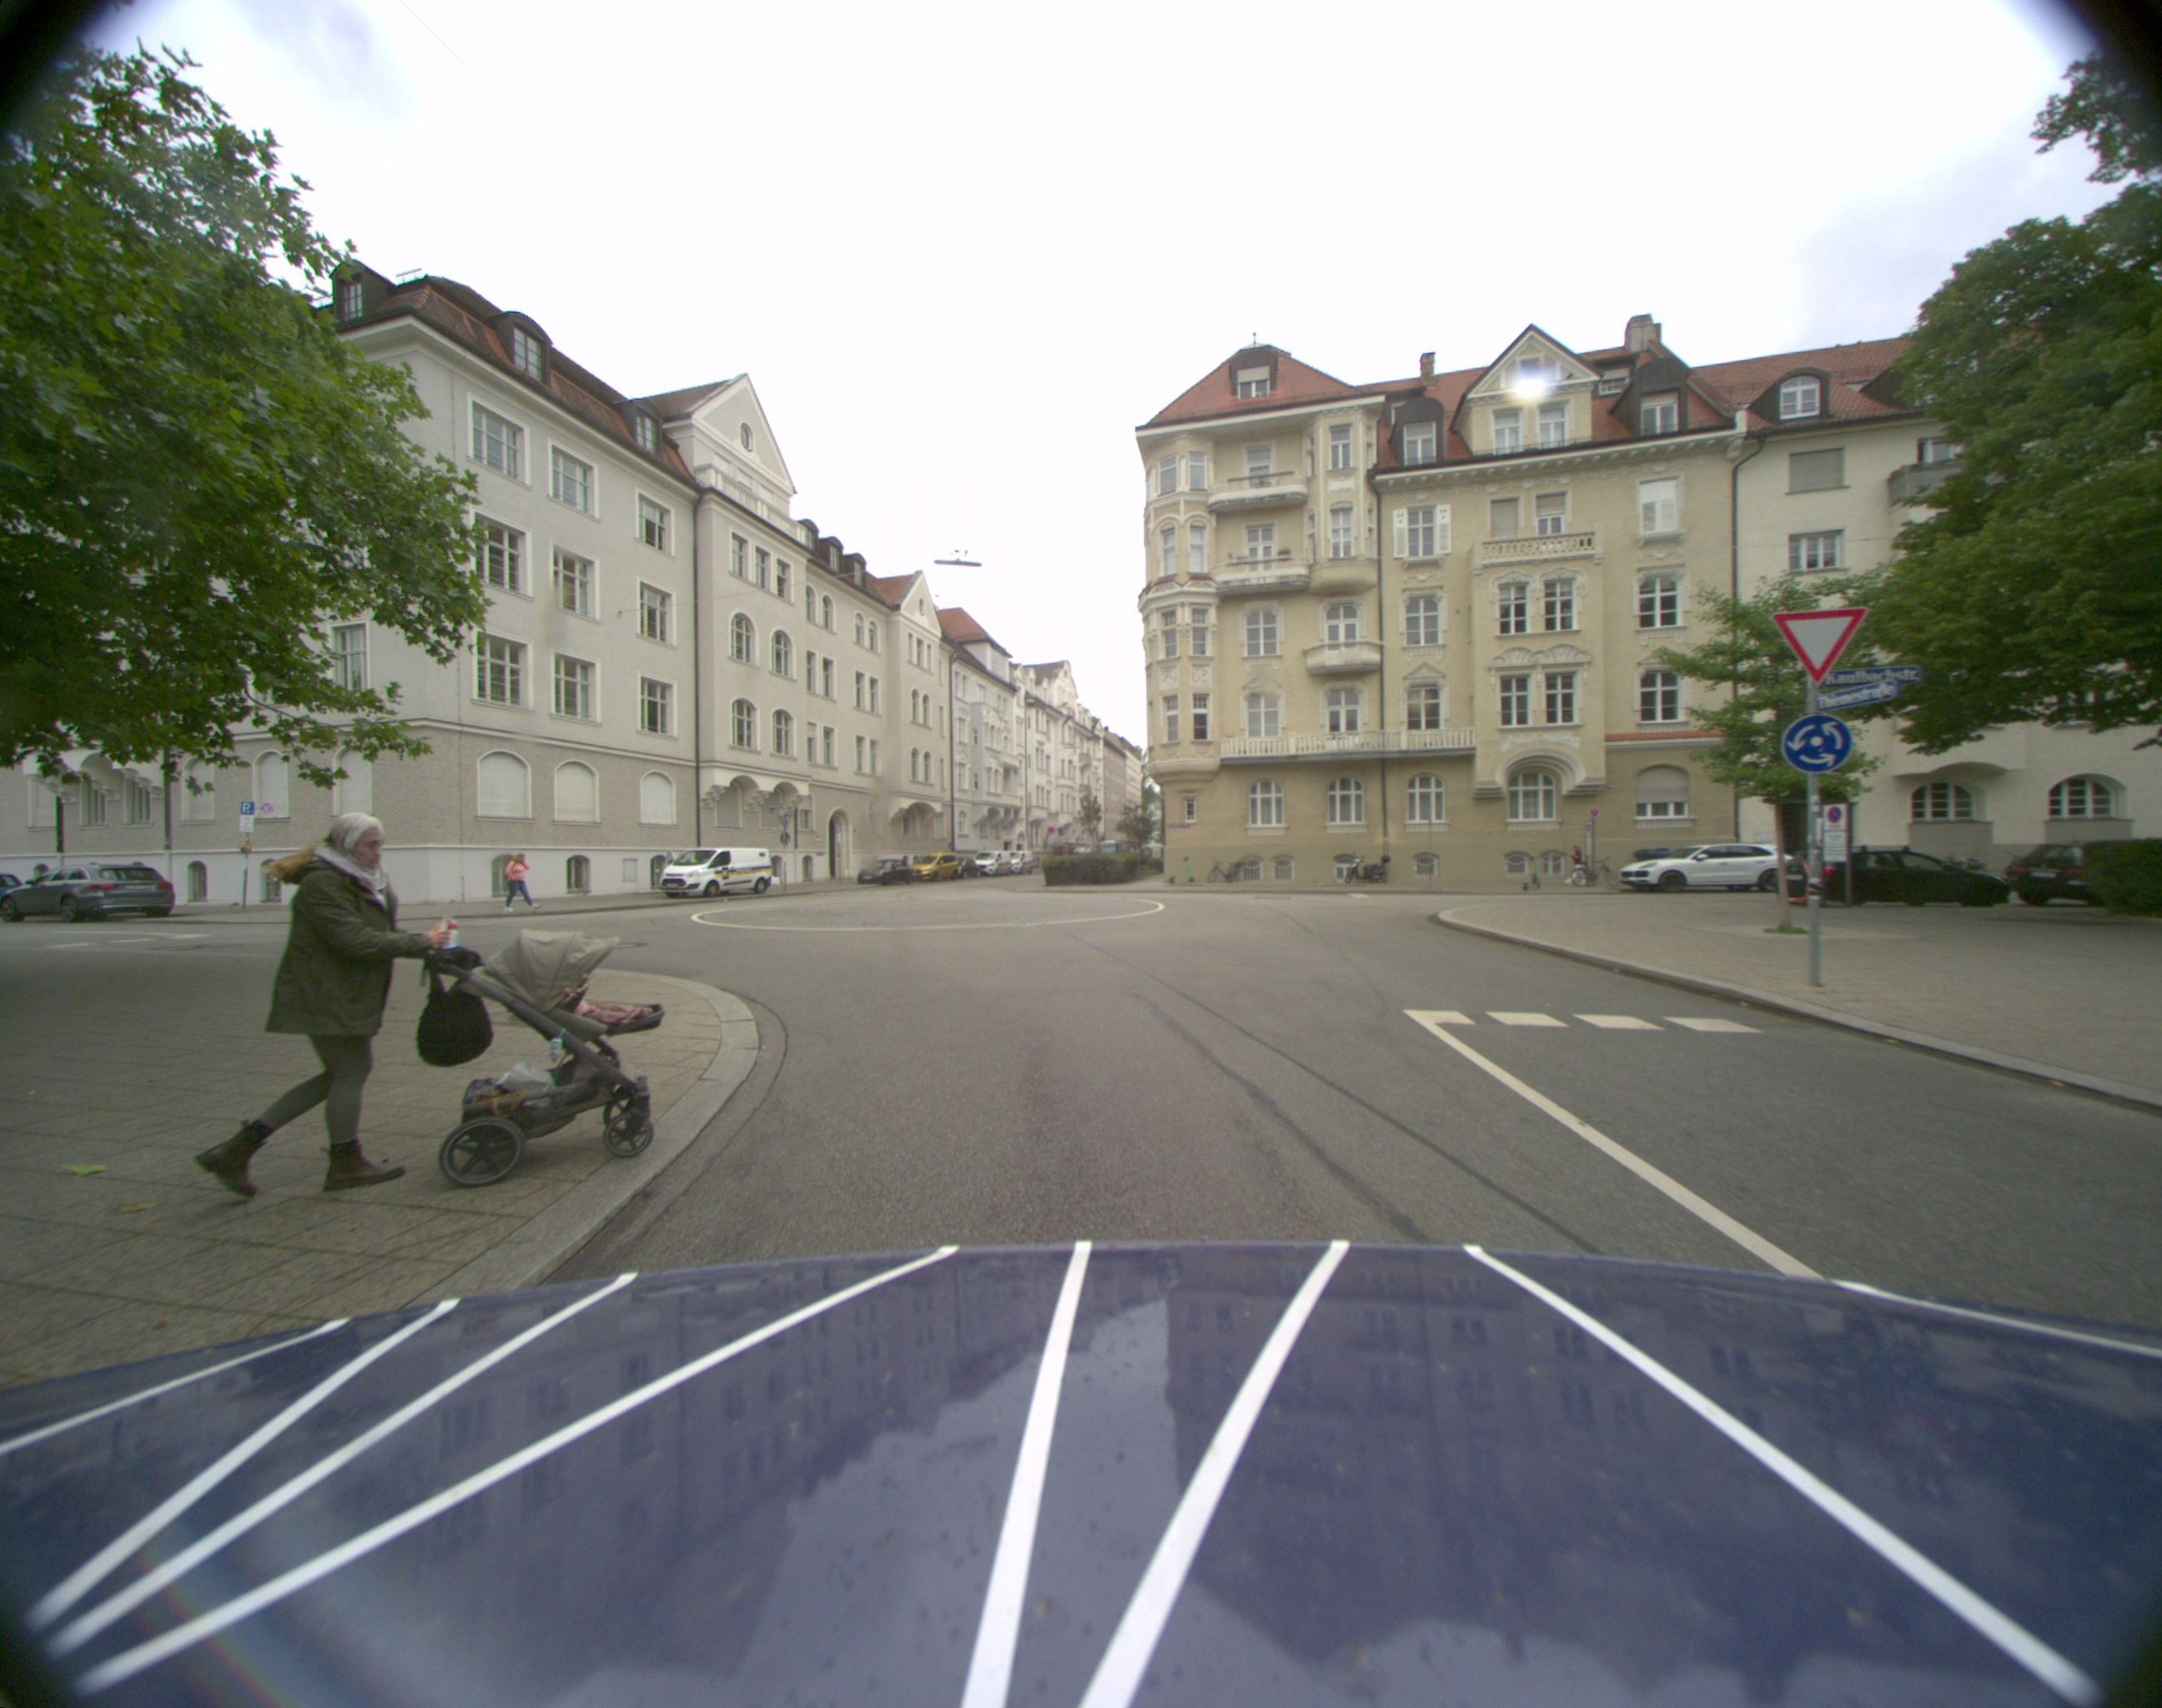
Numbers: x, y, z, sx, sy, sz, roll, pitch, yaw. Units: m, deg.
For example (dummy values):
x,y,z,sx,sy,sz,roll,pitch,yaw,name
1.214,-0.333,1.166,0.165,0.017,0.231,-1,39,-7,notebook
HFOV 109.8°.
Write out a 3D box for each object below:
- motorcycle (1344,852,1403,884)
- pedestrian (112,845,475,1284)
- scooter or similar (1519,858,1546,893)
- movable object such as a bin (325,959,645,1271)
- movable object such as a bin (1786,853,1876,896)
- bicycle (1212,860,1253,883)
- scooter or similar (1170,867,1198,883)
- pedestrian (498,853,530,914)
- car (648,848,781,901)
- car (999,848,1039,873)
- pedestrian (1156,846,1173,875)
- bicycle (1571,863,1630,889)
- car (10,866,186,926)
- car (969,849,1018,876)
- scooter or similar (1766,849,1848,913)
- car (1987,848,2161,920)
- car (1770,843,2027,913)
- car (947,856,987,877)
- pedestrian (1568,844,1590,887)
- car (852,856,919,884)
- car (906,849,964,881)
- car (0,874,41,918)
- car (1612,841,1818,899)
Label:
x,y,z,sx,sy,sz,roll,pitch,yaw,name
12.534,0.604,32.646,2.242,1.319,0.824,0,2,11,motorcycle
-3.210,0.785,3.189,0.864,1.610,0.593,2,1,-17,pedestrian
16.629,0.771,27.986,1.280,1.223,0.408,-2,2,-37,scooter or similar
-2.579,1.074,3.422,0.901,1.077,0.776,2,1,-18,movable object such as a bin
25.461,0.667,25.879,1.870,1.365,1.568,0,2,32,movable object such as a bin
6.782,0.793,34.139,1.782,0.986,0.543,0,2,10,bicycle
4.654,0.958,34.410,1.234,0.683,0.316,-1,2,-14,scooter or similar
-16.466,0.848,22.068,0.404,1.758,0.571,0,2,24,pedestrian
-14.570,0.734,30.593,1.947,1.923,4.979,0,1,16,car
-5.238,0.518,64.984,2.051,1.928,4.580,0,2,15,car
5.085,0.382,46.521,0.744,1.782,0.703,1,3,45,pedestrian
19.711,0.827,28.857,1.807,0.952,0.468,0,2,16,bicycle
-28.656,1.186,22.182,3.992,1.574,1.740,0,2,16,car
-6.721,0.597,58.735,2.155,1.902,4.777,0,2,15,car
16.605,0.612,17.394,0.803,1.379,1.103,-2,-1,-26,scooter or similar
24.735,0.676,17.965,4.092,1.581,1.592,0,2,14,car
19.446,0.538,18.246,4.094,1.580,1.592,0,0,9,car
-7.947,0.837,53.159,1.439,1.351,3.362,0,2,16,car
19.813,0.452,30.223,0.606,1.655,0.463,0,2,19,pedestrian
-10.968,0.876,42.868,1.947,1.412,3.823,0,2,16,car
-9.187,0.662,48.114,1.792,1.809,4.308,0,2,16,car
-35.820,1.349,24.425,3.291,1.325,1.702,0,2,15,car
21.726,0.507,26.310,5.021,1.855,2.168,0,2,14,car
